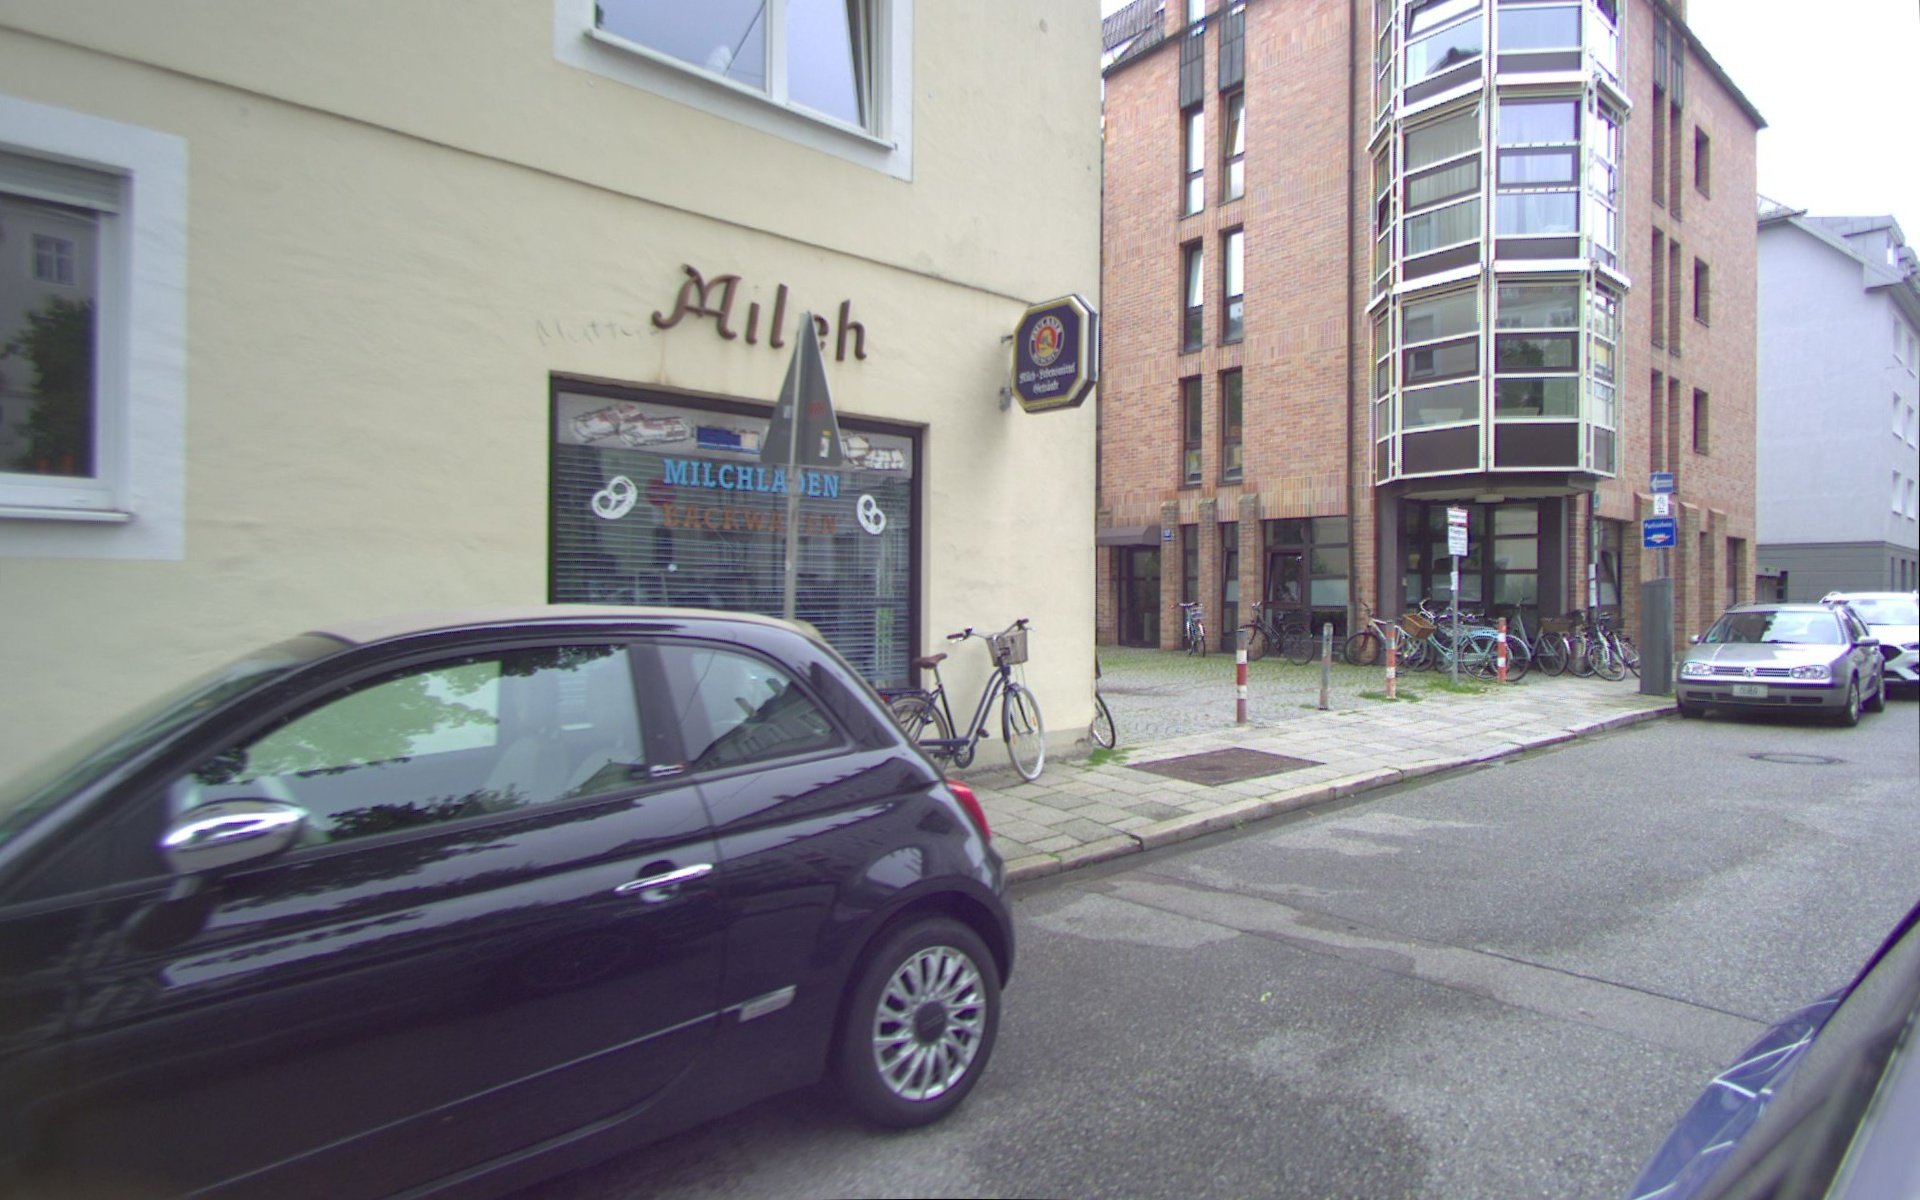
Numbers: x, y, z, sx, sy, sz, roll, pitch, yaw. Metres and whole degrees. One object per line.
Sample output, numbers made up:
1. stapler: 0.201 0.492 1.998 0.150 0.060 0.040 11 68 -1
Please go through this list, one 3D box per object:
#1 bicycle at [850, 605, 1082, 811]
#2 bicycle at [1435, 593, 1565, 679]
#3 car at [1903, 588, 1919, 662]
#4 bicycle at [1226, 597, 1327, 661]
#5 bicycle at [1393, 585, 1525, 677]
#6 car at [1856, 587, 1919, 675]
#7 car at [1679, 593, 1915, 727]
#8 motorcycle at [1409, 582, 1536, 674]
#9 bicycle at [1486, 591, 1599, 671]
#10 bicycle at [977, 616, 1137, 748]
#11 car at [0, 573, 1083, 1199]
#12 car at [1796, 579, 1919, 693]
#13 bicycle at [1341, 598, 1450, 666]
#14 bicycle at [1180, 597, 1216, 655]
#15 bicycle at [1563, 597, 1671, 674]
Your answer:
1. bicycle: 0.086 0.689 7.117 1.787 1.229 0.411 -2 4 -40
2. bicycle: 8.363 0.523 15.743 0.434 1.201 1.756 0 2 -34
3. car: 22.452 0.524 22.629 3.982 1.600 1.617 0 -1 -42
4. bicycle: 5.718 0.501 18.393 0.434 1.086 1.887 0 1 -34
5. bicycle: 7.627 0.445 15.535 1.786 1.339 0.582 0 1 25
6. car: 18.470 0.550 19.313 3.742 1.577 1.617 0 -1 -42
7. car: 10.894 0.655 13.063 4.284 1.453 1.723 0 -1 -42
8. motorcycle: 8.446 0.430 16.741 0.543 1.402 1.761 0 2 -45
9. bicycle: 9.848 0.486 17.201 0.581 1.244 1.881 0 1 -11
10. bicycle: 0.859 0.711 9.398 0.404 1.039 1.705 -1 2 -39
11. car: -1.474 0.719 2.717 3.475 1.490 1.637 0 -1 -40
12. car: 15.157 0.518 16.492 4.378 1.636 1.723 0 -1 -42
13. bicycle: 7.395 0.518 17.260 0.434 1.086 1.755 0 1 -34
14. bicycle: 4.682 0.501 19.977 0.434 1.086 1.425 0 1 2
15. bicycle: 11.242 0.581 17.303 1.743 1.232 0.744 0 1 -26
